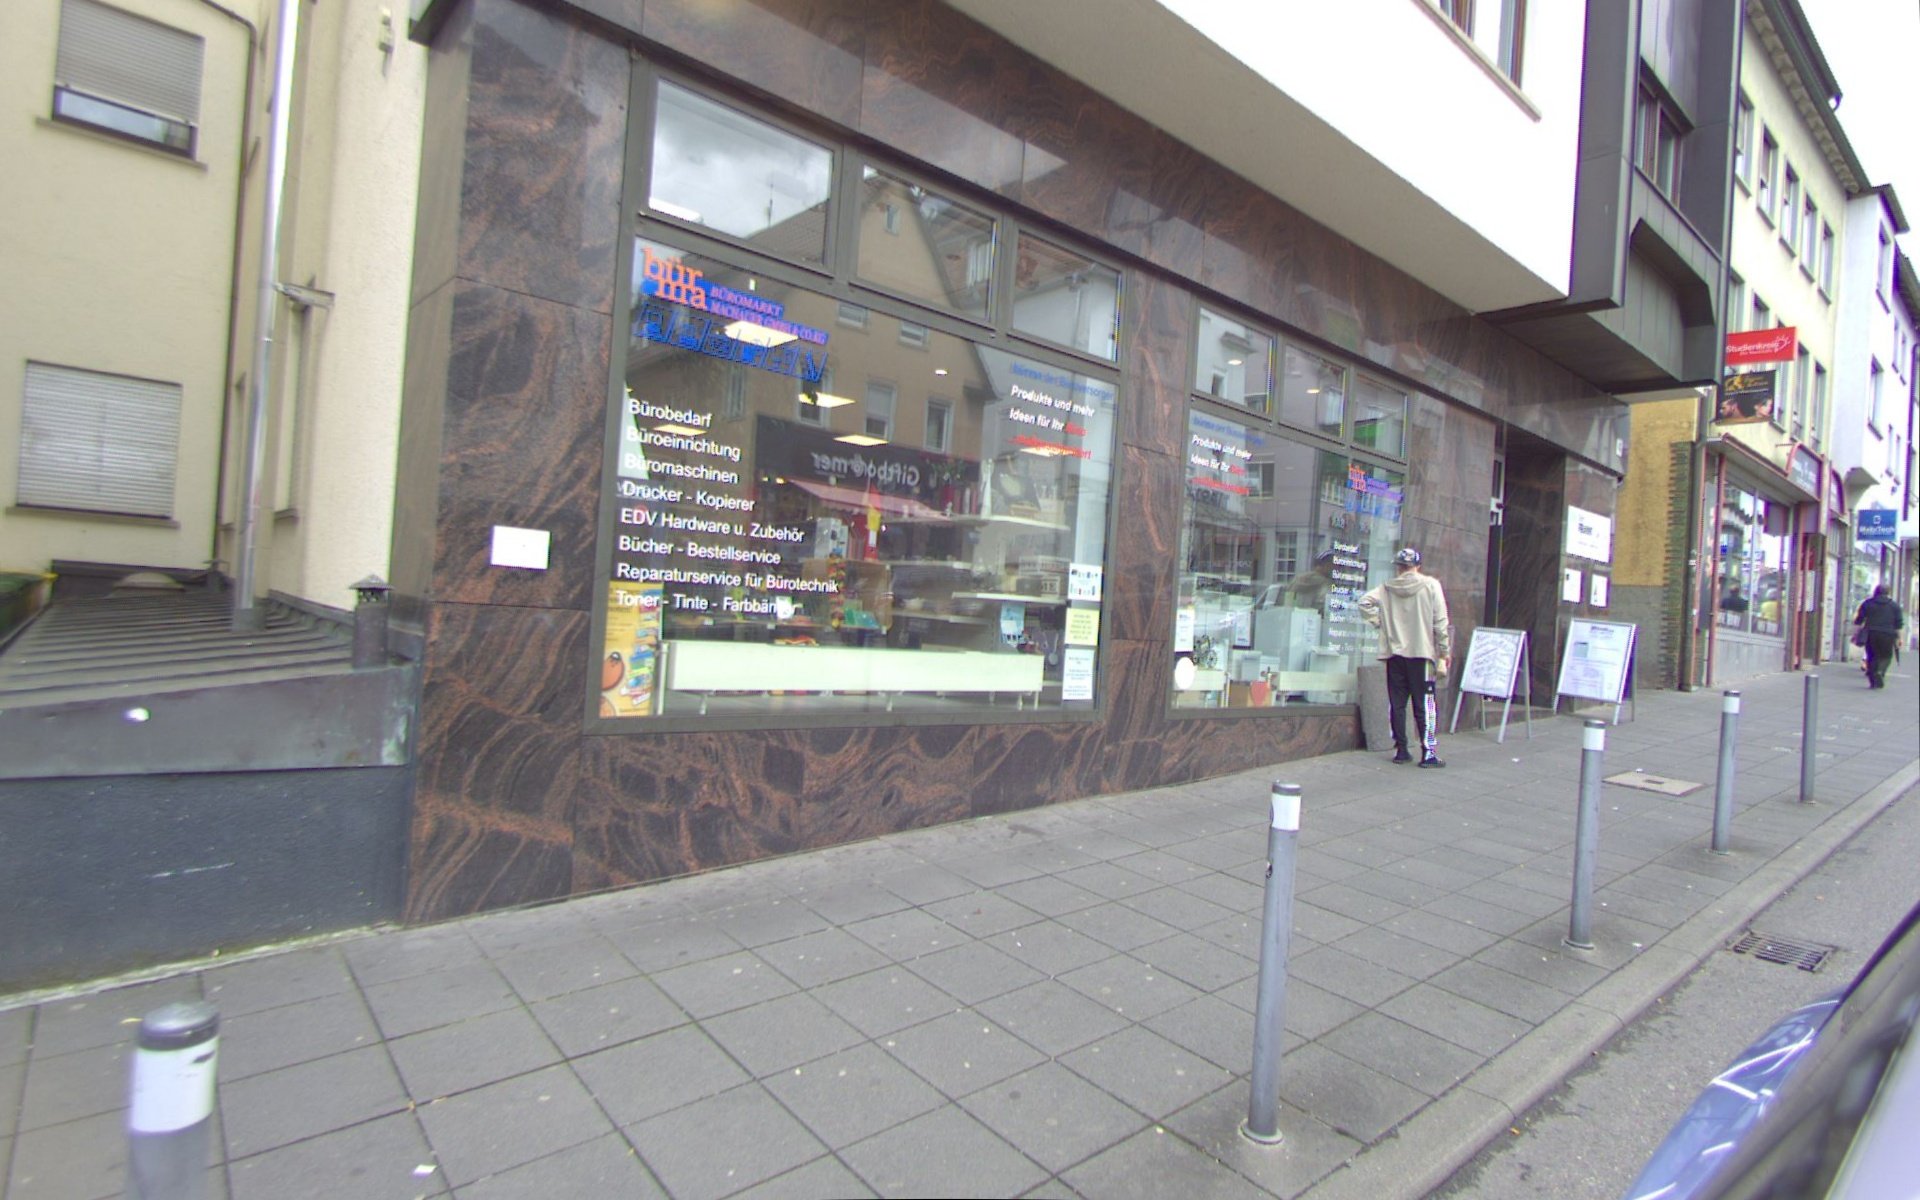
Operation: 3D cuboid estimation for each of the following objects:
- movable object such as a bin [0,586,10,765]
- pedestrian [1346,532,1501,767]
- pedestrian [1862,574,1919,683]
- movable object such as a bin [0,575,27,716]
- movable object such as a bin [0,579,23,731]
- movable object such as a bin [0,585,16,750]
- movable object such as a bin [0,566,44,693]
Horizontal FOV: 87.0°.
[{"bbox_3d":[-6.308,0.459,6.224,0.643,1.072,0.723,0,2,-42],"label":"movable object such as a bin"},{"bbox_3d":[3.628,0.349,7.935,0.767,1.693,0.759,1,4,-43],"label":"pedestrian"},{"bbox_3d":[15.233,0.445,16.552,0.637,1.720,0.697,3,2,44],"label":"pedestrian"},{"bbox_3d":[-7.778,0.345,7.945,0.643,1.072,0.747,0,2,-42],"label":"movable object such as a bin"},{"bbox_3d":[-7.281,0.391,7.374,0.643,1.072,0.747,0,2,-42],"label":"movable object such as a bin"},{"bbox_3d":[-6.796,0.442,6.794,0.643,1.072,0.747,0,2,-42],"label":"movable object such as a bin"},{"bbox_3d":[-8.475,0.241,8.871,0.643,1.072,0.747,0,2,-42],"label":"movable object such as a bin"}]
